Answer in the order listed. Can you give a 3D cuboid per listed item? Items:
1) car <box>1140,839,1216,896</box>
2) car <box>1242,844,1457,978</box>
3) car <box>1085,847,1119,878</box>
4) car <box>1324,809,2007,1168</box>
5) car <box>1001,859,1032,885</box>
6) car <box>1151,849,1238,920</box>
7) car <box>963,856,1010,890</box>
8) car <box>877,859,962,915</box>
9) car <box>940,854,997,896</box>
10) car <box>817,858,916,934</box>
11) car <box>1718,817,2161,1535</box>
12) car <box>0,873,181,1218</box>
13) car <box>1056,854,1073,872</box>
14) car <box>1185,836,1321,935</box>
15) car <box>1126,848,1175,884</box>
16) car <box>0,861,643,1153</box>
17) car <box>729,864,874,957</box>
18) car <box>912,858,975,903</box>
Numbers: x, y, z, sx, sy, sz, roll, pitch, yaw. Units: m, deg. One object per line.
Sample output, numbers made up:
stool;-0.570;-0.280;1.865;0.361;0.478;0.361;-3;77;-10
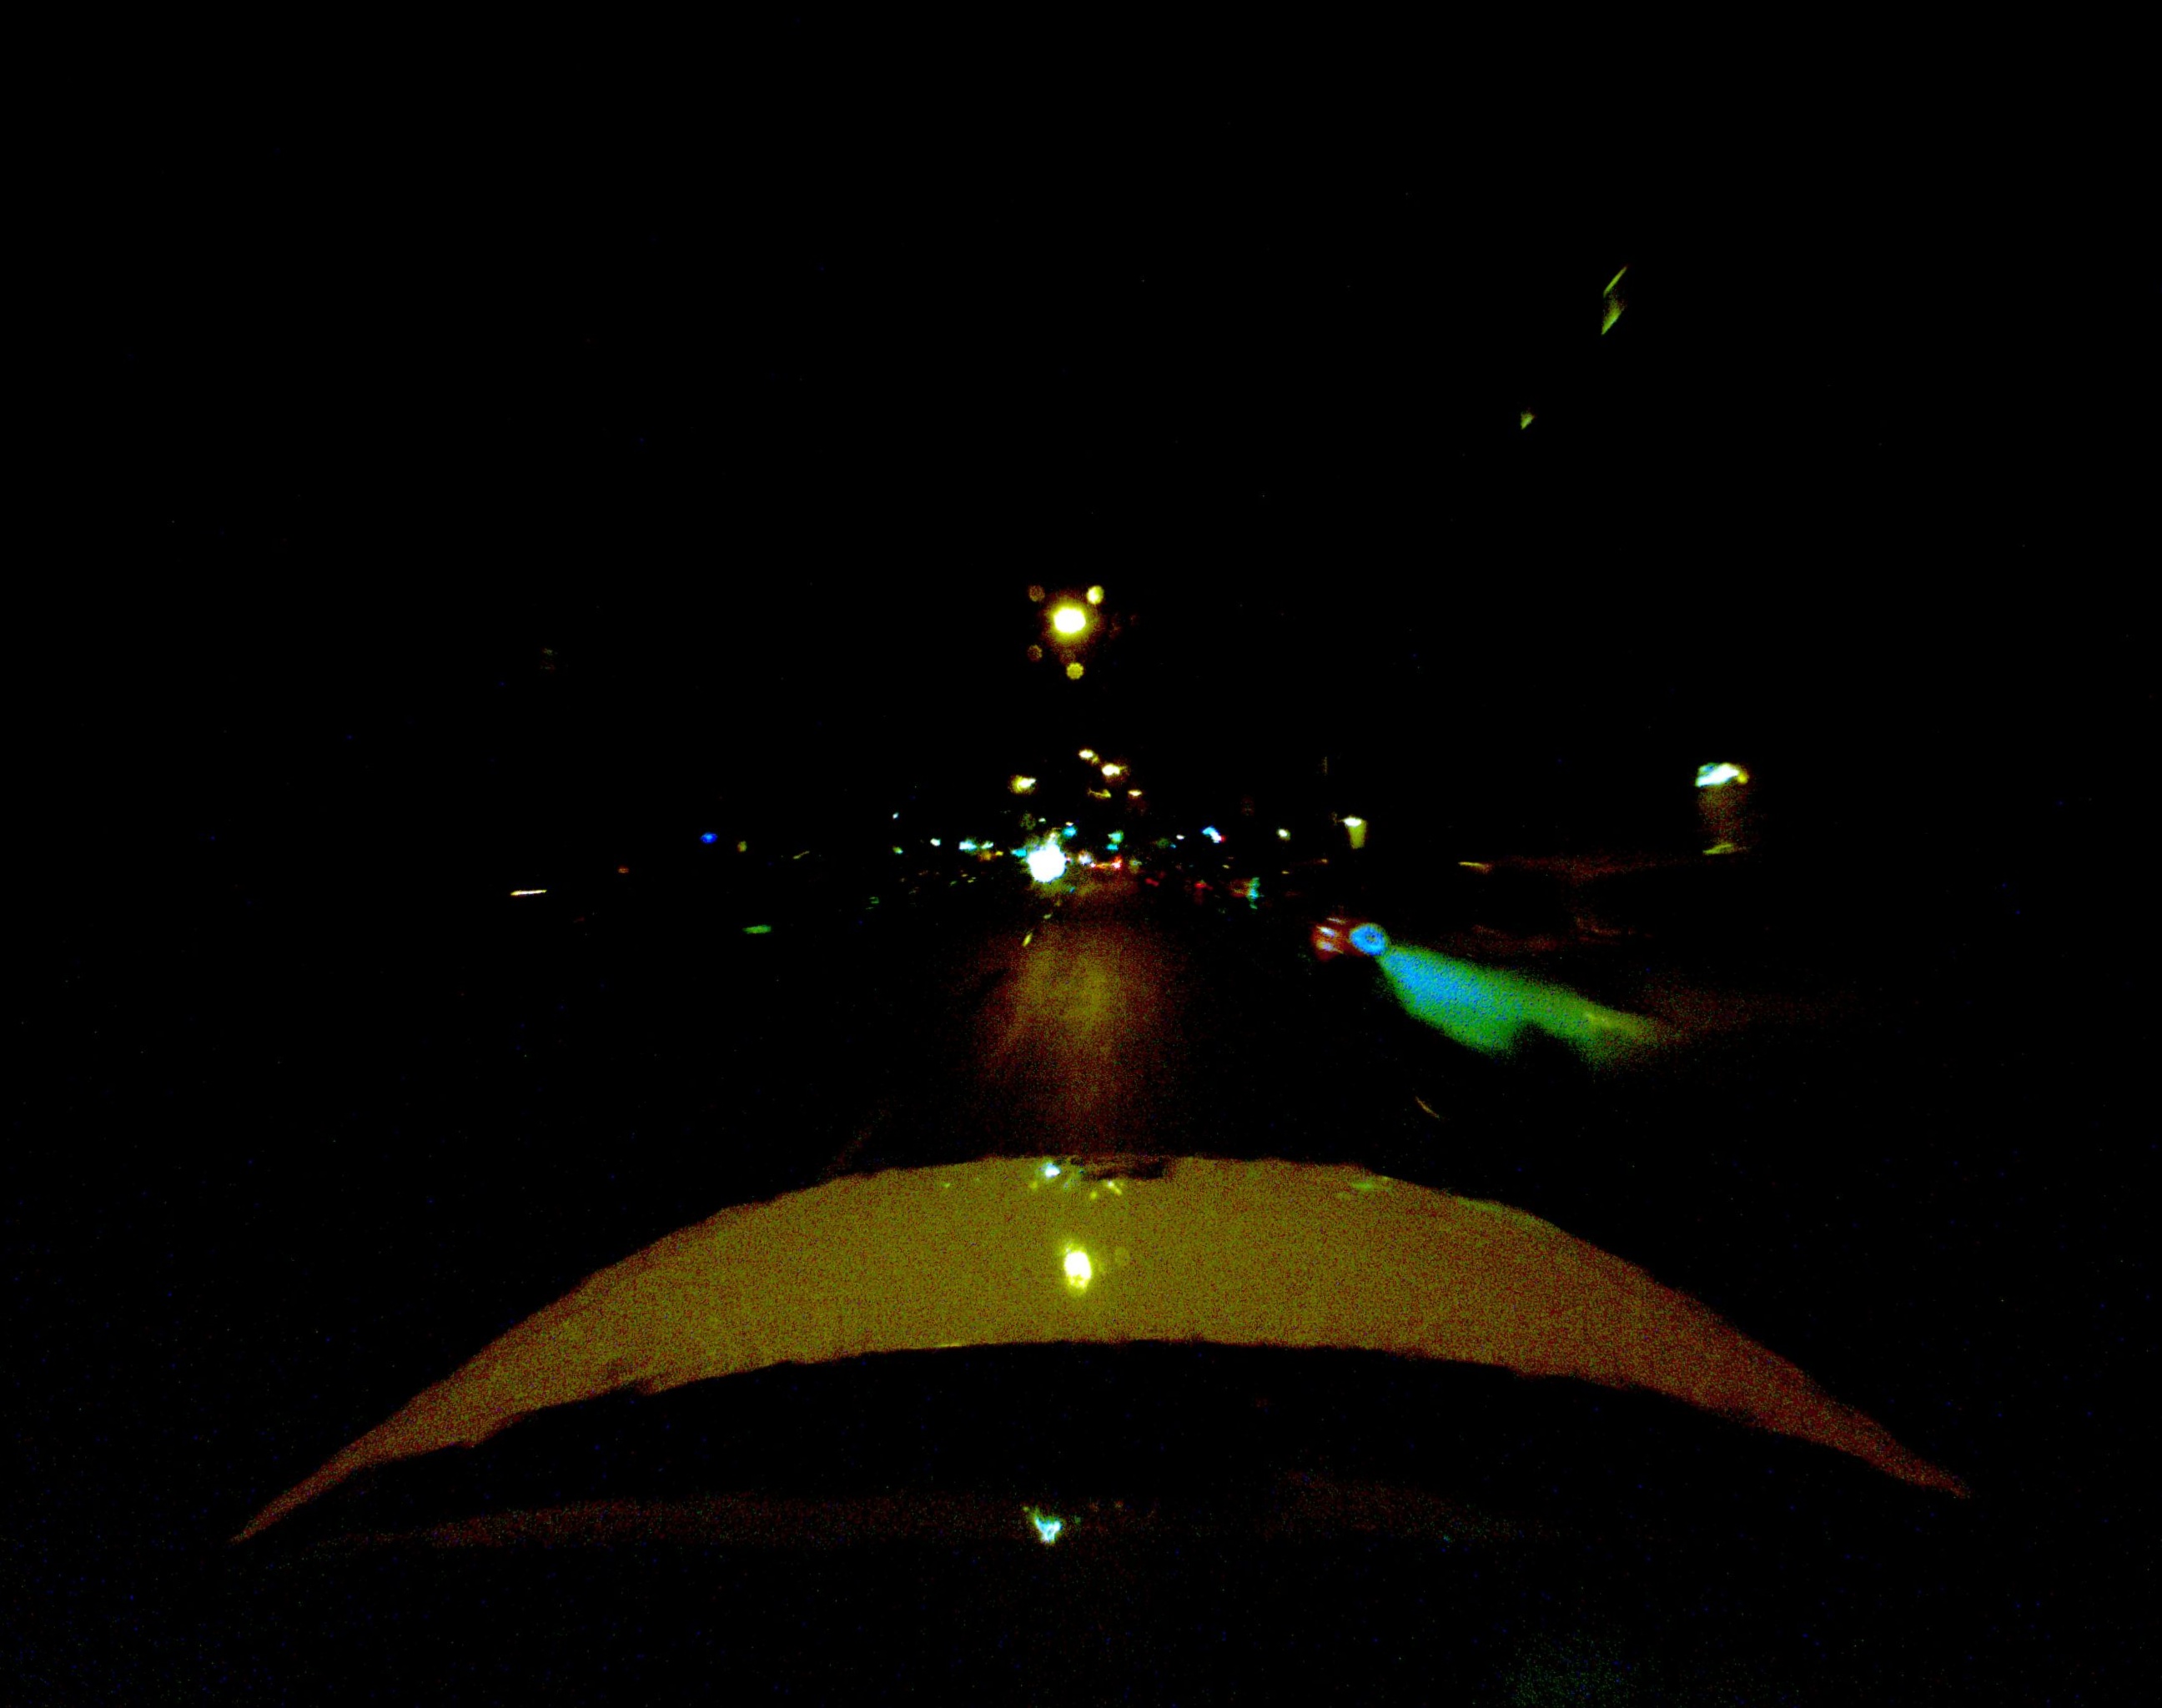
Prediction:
car;2.956;0.394;25.867;1.793;1.530;5.052;-3;0;1
car;3.158;0.592;10.302;1.451;1.306;3.627;-3;0;0
car;1.395;0.557;54.499;2.160;1.972;4.302;-2;0;1
car;3.233;0.591;5.746;1.669;1.487;4.278;-3;0;0
car;-4.463;1.211;56.767;1.592;1.564;4.381;-5;0;2
car;2.815;0.709;21.004;1.817;1.548;4.357;-3;0;4
car;-4.696;0.902;40.989;1.592;1.486;4.276;-5;0;2
car;-5.008;0.955;25.927;1.632;1.456;4.932;-5;0;0
car;-4.805;0.851;35.298;1.592;1.605;4.260;-5;0;2
car;-5.293;0.989;20.501;1.469;1.619;3.373;-5;0;0
car;3.092;0.632;0.624;1.790;1.447;4.278;-3;0;0
car;-5.738;0.939;2.183;1.661;1.539;4.390;-5;0;0
car;-2.178;1.141;105.590;2.029;1.953;5.195;-4;1;-2
car;3.146;0.517;15.917;1.747;1.548;4.981;-3;0;3
car;3.062;0.514;36.809;1.816;1.422;4.488;-3;0;1
car;-5.862;0.937;7.133;1.743;1.597;4.385;-5;0;-3
car;-5.306;1.003;15.891;1.426;1.460;3.376;-5;0;3
car;-5.123;0.950;30.735;1.593;1.431;4.004;-5;0;0
